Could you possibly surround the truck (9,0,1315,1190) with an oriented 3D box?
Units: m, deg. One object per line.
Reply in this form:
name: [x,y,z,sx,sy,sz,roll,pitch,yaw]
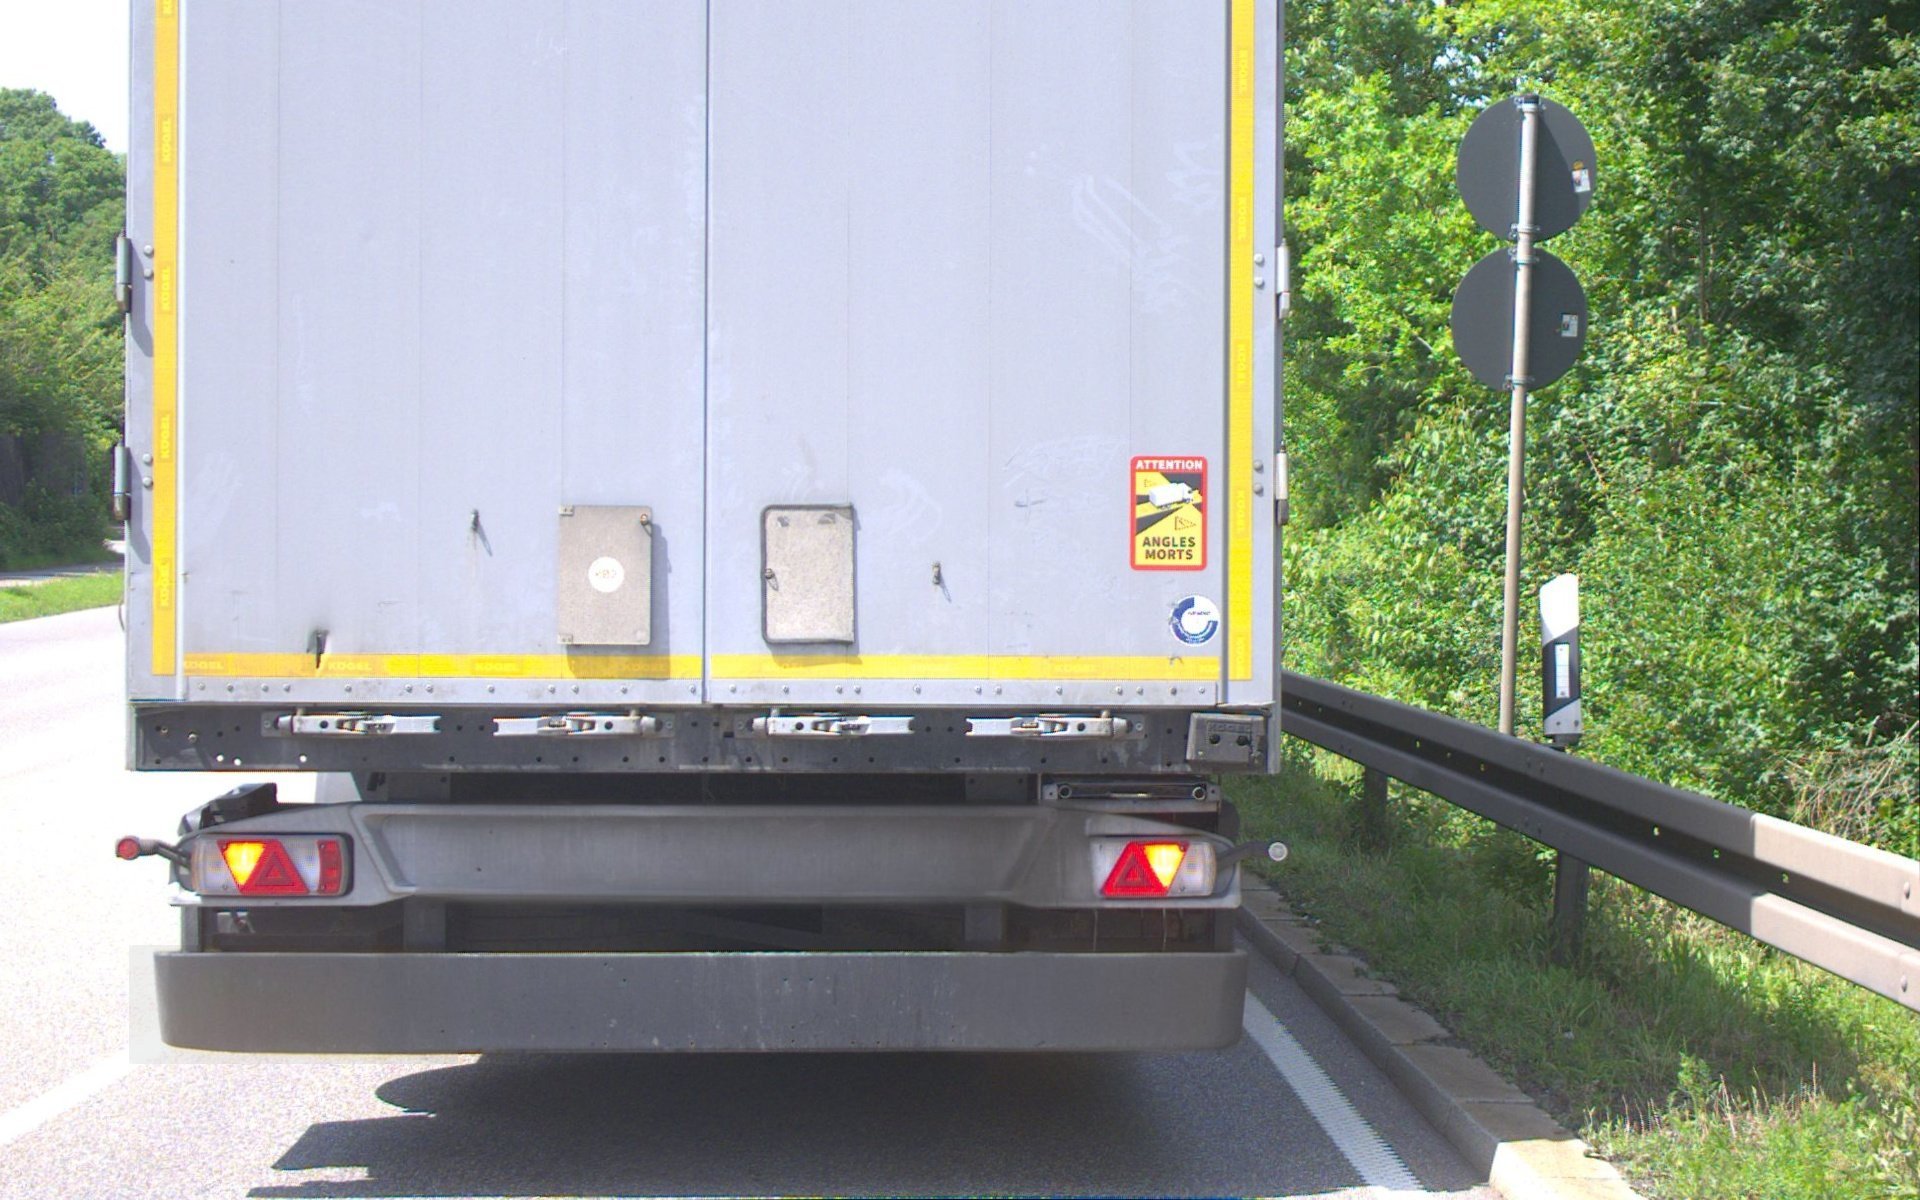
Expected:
truck: [-0.766,-0.882,13.260,2.757,4.016,11.925,0,1,-1]
